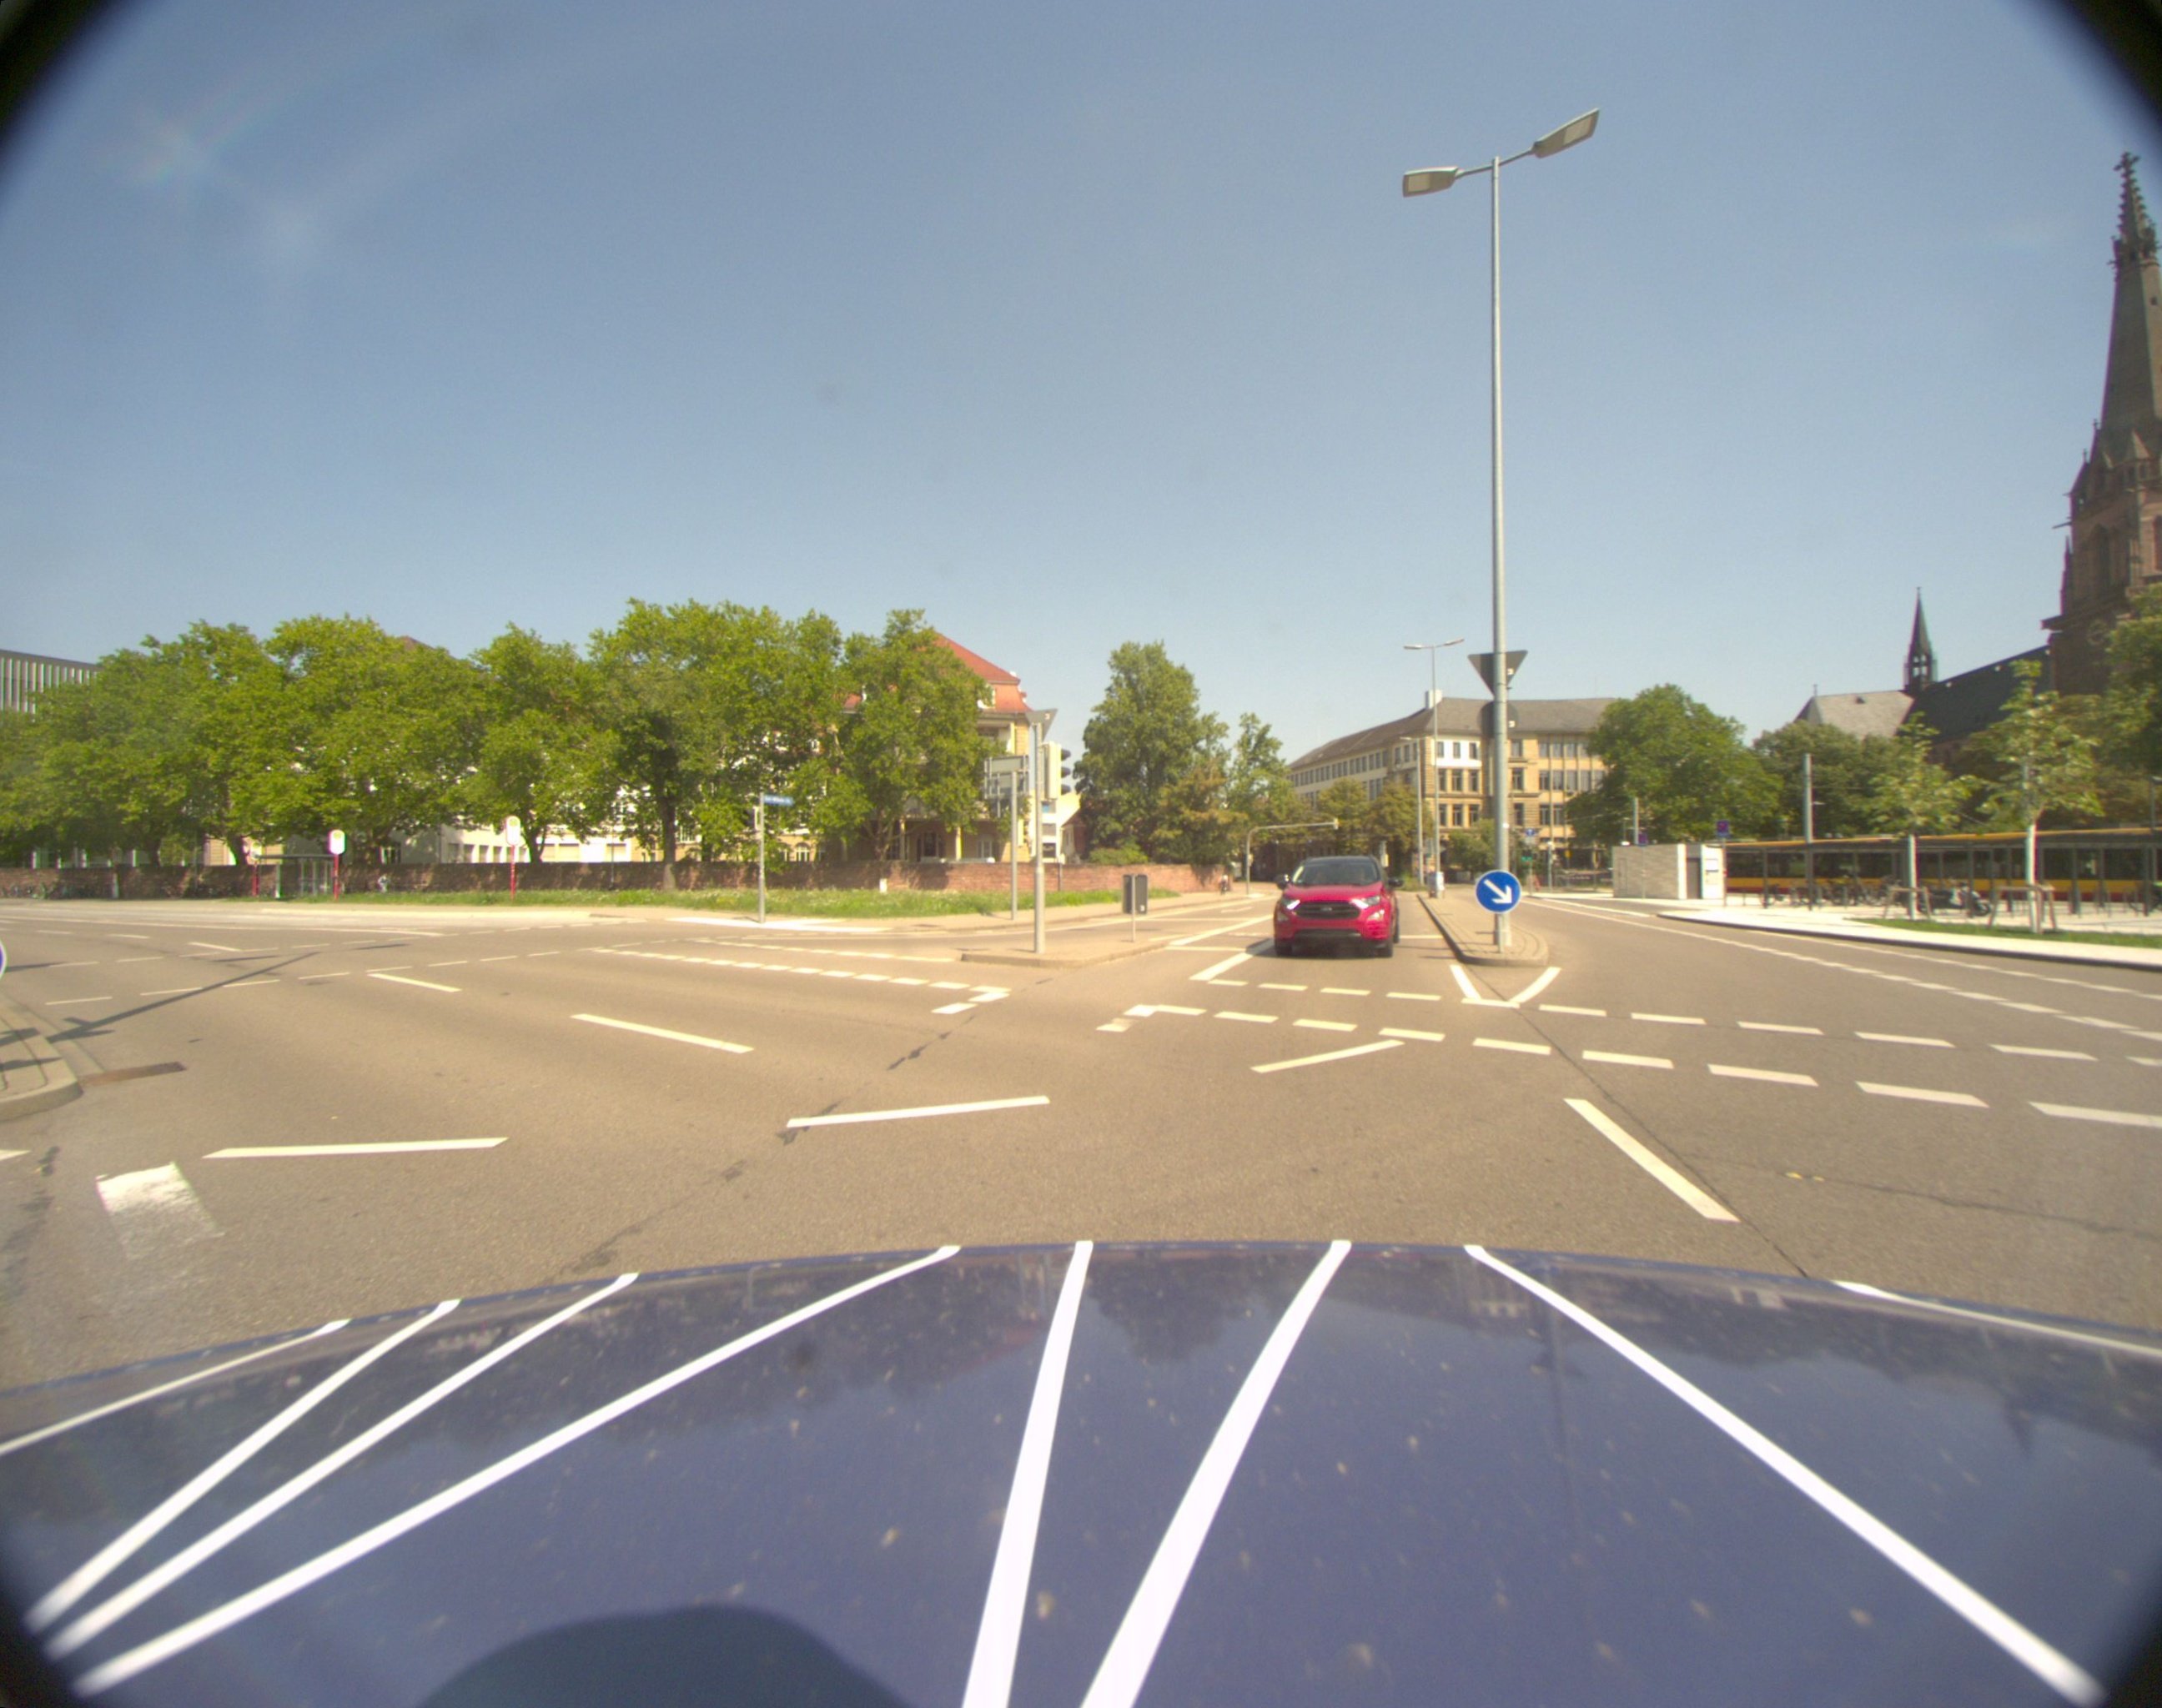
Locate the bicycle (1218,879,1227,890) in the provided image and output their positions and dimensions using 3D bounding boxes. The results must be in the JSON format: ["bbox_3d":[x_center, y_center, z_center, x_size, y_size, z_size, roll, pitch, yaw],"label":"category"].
[{"bbox_3d":[10.926,2.355,58.513,0.436,0.807,1.488,-1,-1,20],"label":"bicycle"}]

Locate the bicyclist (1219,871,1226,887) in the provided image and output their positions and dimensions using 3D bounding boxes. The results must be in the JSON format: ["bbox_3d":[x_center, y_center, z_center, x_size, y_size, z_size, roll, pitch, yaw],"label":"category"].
[{"bbox_3d":[10.933,1.923,58.534,0.432,1.225,0.541,-1,0,20],"label":"bicyclist"}]

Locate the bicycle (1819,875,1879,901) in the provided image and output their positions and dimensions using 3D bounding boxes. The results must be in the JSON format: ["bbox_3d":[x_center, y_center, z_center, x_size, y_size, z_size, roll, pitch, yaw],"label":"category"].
[{"bbox_3d":[32.095,1.418,31.776,0.527,1.034,1.769,0,-1,-10],"label":"bicycle"}]

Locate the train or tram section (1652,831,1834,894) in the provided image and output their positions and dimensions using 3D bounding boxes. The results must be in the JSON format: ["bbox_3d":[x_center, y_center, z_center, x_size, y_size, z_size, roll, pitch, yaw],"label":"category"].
[{"bbox_3d":[40.746,0.648,47.275,3.139,3.538,8.321,1,-2,-12],"label":"train or tram section"}]

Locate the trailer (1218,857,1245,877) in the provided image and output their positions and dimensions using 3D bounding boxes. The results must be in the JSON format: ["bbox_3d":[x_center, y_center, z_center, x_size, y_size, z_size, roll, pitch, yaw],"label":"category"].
[{"bbox_3d":[25.285,2.183,127.764,2.443,3.268,5.083,0,-1,-14],"label":"trailer"}]

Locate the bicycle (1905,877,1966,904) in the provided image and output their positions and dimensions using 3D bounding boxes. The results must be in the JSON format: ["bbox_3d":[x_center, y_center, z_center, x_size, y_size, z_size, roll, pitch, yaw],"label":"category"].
[{"bbox_3d":[33.713,1.427,29.999,0.413,1.034,1.640,0,-1,-10],"label":"bicycle"}]

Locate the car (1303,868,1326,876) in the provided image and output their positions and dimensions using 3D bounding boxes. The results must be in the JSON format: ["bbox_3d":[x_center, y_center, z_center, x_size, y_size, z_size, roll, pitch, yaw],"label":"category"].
[{"bbox_3d":[34.905,2.651,113.635,3.060,1.169,1.250,0,-1,-17],"label":"car"}]

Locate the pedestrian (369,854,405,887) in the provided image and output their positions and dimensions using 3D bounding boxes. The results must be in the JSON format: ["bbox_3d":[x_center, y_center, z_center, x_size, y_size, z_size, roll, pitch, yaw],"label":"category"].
[{"bbox_3d":[-43.192,1.026,47.279,1.233,2.001,1.073,0,-1,3],"label":"pedestrian"}]

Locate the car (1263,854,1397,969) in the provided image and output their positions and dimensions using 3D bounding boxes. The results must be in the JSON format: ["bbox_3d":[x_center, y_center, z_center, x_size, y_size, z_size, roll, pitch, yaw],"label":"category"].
[{"bbox_3d":[4.328,0.846,12.805,1.841,1.604,4.007,0,-1,22],"label":"car"}]

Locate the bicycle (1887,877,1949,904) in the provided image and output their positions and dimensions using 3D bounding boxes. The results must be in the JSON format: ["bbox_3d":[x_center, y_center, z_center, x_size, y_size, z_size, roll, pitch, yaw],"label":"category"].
[{"bbox_3d":[32.433,1.404,29.471,0.413,1.034,1.640,0,-1,-10],"label":"bicycle"}]

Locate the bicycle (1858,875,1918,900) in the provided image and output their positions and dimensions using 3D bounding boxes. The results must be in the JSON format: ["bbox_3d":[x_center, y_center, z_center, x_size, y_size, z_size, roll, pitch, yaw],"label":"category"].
[{"bbox_3d":[34.460,1.417,32.470,0.527,1.034,1.769,0,-1,-10],"label":"bicycle"}]

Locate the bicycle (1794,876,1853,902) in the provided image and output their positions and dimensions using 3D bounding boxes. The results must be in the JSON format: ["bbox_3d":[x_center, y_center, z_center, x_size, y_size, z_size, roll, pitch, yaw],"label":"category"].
[{"bbox_3d":[30.489,1.418,31.231,0.527,1.034,1.769,0,-1,-10],"label":"bicycle"}]

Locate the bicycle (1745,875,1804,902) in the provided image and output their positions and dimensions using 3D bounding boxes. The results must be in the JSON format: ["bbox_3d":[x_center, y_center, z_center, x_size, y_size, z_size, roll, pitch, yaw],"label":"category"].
[{"bbox_3d":[28.479,1.390,31.229,0.527,1.075,1.864,0,-1,-10],"label":"bicycle"}]

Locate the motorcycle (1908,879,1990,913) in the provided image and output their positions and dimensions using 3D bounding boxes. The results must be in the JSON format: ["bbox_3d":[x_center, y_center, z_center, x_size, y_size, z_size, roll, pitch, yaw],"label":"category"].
[{"bbox_3d":[28.581,1.376,25.061,0.491,1.062,1.778,0,-1,-10],"label":"motorcycle"}]

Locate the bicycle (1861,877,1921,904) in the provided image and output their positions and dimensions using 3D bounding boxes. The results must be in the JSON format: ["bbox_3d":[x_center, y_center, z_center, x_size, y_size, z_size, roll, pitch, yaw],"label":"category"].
[{"bbox_3d":[31.360,1.403,29.443,0.413,1.034,1.640,0,-1,-10],"label":"bicycle"}]

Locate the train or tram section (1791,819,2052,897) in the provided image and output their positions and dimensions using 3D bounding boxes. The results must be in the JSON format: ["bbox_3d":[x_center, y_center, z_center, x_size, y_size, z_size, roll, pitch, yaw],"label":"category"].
[{"bbox_3d":[42.544,0.338,39.038,3.163,3.575,8.519,1,-2,-12],"label":"train or tram section"}]

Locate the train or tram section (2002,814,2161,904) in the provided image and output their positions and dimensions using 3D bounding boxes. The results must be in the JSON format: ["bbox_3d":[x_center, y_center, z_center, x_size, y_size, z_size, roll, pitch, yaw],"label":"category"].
[{"bbox_3d":[44.349,0.230,30.723,3.163,3.575,8.519,1,-2,-12],"label":"train or tram section"}]

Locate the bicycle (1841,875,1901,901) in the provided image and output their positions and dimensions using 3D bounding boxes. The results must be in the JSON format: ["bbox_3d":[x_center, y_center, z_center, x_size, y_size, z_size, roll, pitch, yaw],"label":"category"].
[{"bbox_3d":[33.354,1.422,32.118,0.527,1.034,1.769,0,-1,-10],"label":"bicycle"}]

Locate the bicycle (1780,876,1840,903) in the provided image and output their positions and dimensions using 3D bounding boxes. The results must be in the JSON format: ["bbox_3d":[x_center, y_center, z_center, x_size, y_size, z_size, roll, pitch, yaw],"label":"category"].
[{"bbox_3d":[29.764,1.439,31.055,0.527,1.034,1.769,0,-1,-10],"label":"bicycle"}]

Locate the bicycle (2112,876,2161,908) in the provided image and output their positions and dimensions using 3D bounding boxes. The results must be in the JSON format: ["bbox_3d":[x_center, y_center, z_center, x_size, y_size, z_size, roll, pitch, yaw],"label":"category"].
[{"bbox_3d":[34.989,1.240,24.744,0.413,1.034,1.640,0,-1,-10],"label":"bicycle"}]
